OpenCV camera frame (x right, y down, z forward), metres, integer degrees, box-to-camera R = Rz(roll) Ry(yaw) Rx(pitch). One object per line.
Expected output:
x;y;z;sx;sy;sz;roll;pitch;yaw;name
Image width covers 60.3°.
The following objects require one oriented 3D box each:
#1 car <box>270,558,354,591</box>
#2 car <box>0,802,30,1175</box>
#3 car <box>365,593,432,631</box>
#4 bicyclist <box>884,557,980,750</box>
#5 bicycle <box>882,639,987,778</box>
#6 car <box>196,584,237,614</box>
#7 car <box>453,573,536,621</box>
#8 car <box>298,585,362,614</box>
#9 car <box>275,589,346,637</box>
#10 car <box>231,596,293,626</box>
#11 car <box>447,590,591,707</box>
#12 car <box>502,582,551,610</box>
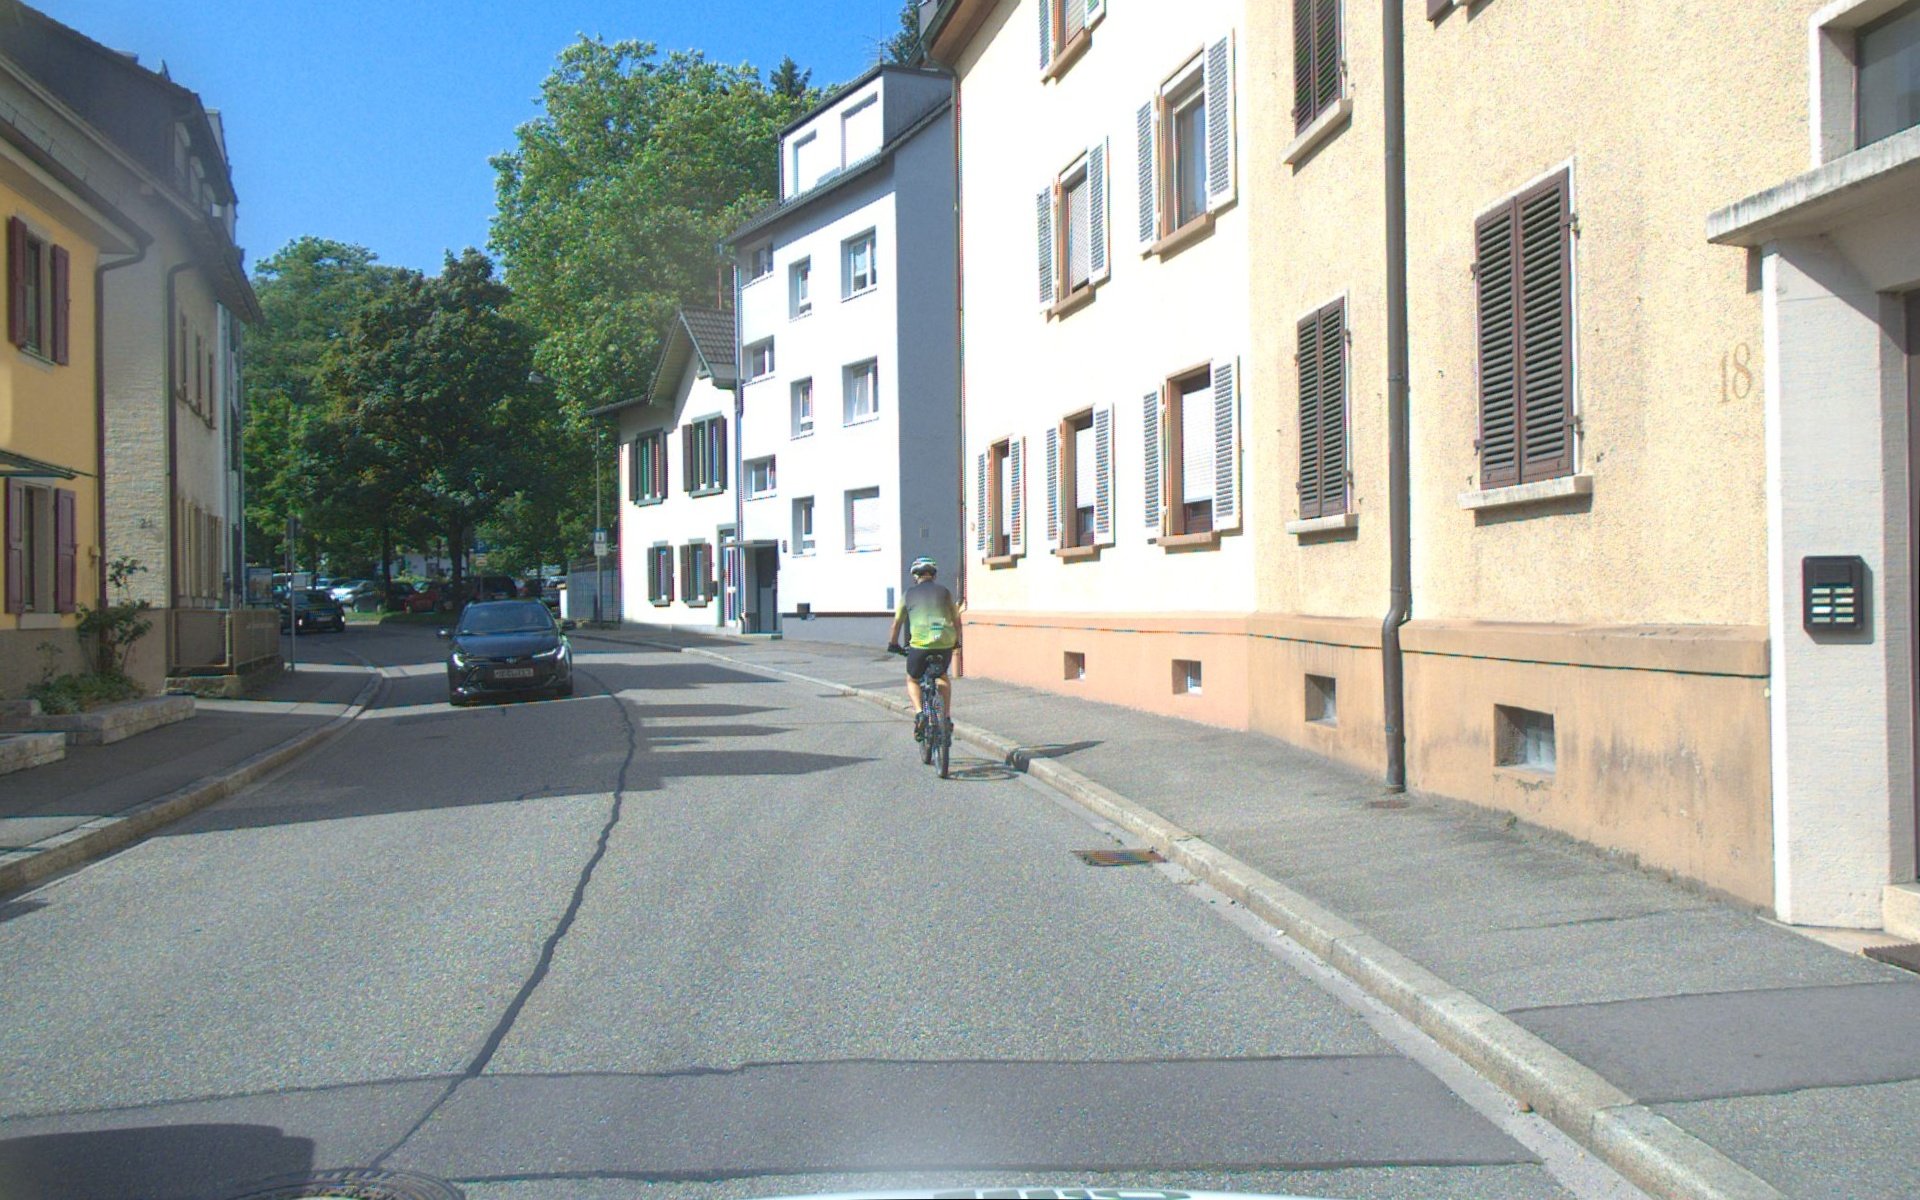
-38.313;-1.495;97.943;1.952;1.887;4.701;-1;1;21;car
-3.232;0.862;2.358;1.714;1.478;4.023;-5;1;-5;car
-25.999;0.542;76.533;1.697;1.569;3.944;-2;3;-39;car
-0.244;0.434;13.893;0.673;1.558;0.714;-2;0;-9;bicyclist
-0.236;0.883;13.932;0.685;1.053;1.468;0;0;-9;bicycle
-40.858;-0.043;90.895;1.725;1.579;3.716;-1;1;-29;car
-18.881;-0.167;66.978;1.811;1.822;3.944;-2;3;-39;car
-36.024;-0.063;94.602;1.771;1.579;4.003;-1;0;6;car
-23.802;0.474;60.545;1.805;1.563;3.960;-5;2;-29;car
-36.507;0.565;86.474;3.347;1.493;1.669;0;1;40;car
-6.573;0.652;25.004;1.629;1.474;4.249;-4;1;-10;car
-21.004;-0.206;80.101;1.563;1.279;3.825;-2;1;-26;car
